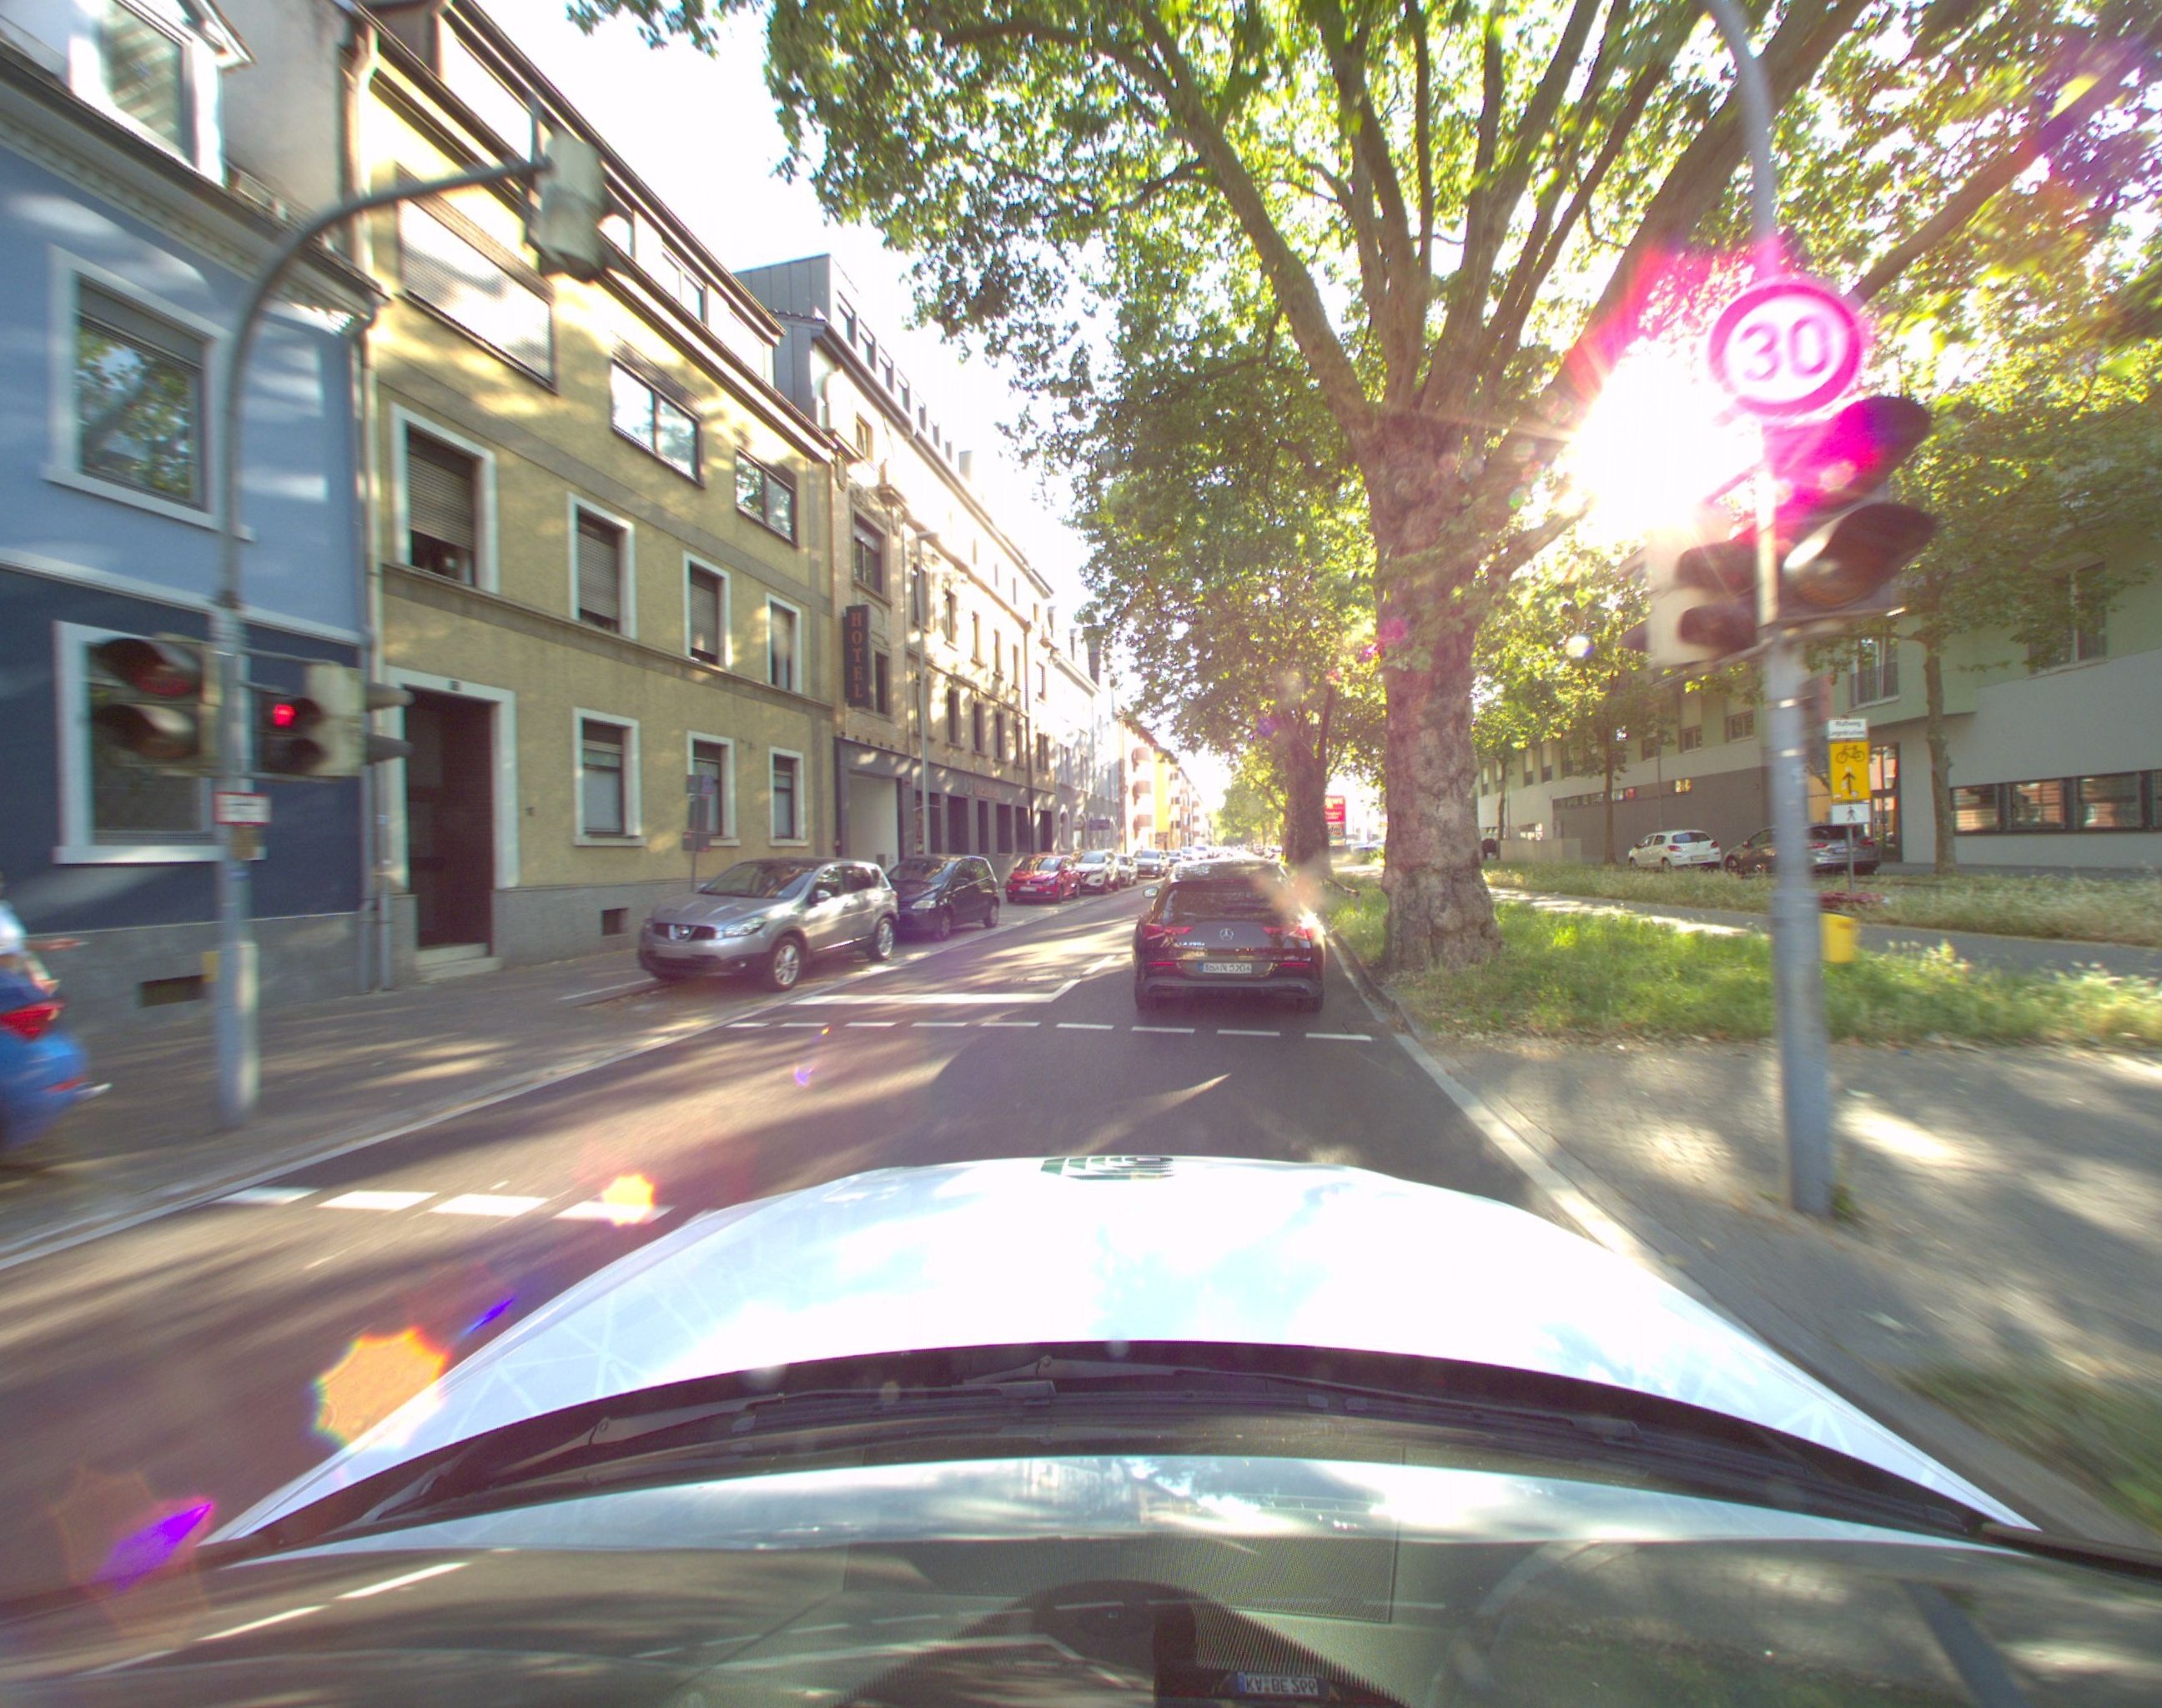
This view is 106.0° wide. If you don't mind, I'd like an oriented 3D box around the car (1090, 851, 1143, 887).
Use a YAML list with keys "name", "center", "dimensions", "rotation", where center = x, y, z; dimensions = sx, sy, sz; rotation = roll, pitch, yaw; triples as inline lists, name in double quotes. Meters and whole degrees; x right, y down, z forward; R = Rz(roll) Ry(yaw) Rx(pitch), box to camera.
- name: "car"
  center: [1.635, 0.642, 36.563]
  dimensions: [1.666, 1.496, 3.886]
  rotation: [0, 1, 13]

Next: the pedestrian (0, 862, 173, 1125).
- name: "pedestrian"
  center: [-6.678, 0.852, 5.221]
  dimensions: [0.865, 1.570, 0.702]
  rotation: [-2, 0, -16]

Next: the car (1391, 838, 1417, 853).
- name: "car"
  center: [38.723, -1.010, 97.647]
  dimensions: [1.974, 1.733, 4.191]
  rotation: [-2, 0, 9]

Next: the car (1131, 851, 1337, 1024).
- name: "car"
  center: [1.422, 0.700, 8.928]
  dimensions: [1.737, 1.443, 3.972]
  rotation: [0, 1, 3]

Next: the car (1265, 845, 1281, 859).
- name: "car"
  center: [24.625, -0.254, 104.315]
  dimensions: [1.798, 1.539, 4.598]
  rotation: [-4, -1, 12]

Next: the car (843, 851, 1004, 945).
- name: "car"
  center: [-2.963, 0.757, 16.168]
  dimensions: [1.665, 1.605, 3.720]
  rotation: [0, 1, 15]

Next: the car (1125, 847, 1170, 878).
- name: "car"
  center: [3.868, 0.453, 46.810]
  dimensions: [1.895, 1.641, 4.594]
  rotation: [0, 1, 13]

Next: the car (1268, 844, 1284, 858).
- name: "car"
  center: [23.343, -0.330, 97.583]
  dimensions: [1.625, 1.468, 4.032]
  rotation: [-3, -1, 10]

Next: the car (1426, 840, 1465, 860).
- name: "car"
  center: [28.716, -0.342, 64.296]
  dimensions: [1.847, 1.468, 4.136]
  rotation: [-2, 0, 10]

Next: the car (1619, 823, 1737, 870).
- name: "car"
  center: [21.667, -0.262, 29.796]
  dimensions: [1.846, 1.542, 4.334]
  rotation: [-2, 0, 12]

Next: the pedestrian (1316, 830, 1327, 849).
- name: "pedestrian"
  center: [22.922, -1.416, 77.505]
  dimensions: [0.765, 1.761, 0.664]
  rotation: [-4, 0, 0]

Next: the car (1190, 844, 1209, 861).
- name: "car"
  center: [13.934, -0.211, 95.228]
  dimensions: [1.722, 1.907, 5.228]
  rotation: [-1, 0, 13]

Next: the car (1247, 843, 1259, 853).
- name: "car"
  center: [35.829, -1.294, 169.702]
  dimensions: [1.982, 2.014, 4.008]
  rotation: [-1, -1, 8]

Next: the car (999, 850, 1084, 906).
- name: "car"
  center: [-1.143, 0.674, 25.491]
  dimensions: [1.666, 1.592, 3.770]
  rotation: [0, 1, 13]

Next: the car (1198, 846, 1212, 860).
- name: "car"
  center: [16.484, -0.104, 108.192]
  dimensions: [1.734, 1.787, 4.562]
  rotation: [0, 1, 10]

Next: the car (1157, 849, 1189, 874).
- name: "car"
  center: [6.324, 0.471, 55.554]
  dimensions: [1.666, 1.641, 3.999]
  rotation: [0, 1, 13]

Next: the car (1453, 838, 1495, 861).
- name: "car"
  center: [27.757, -0.331, 57.621]
  dimensions: [1.846, 1.552, 3.772]
  rotation: [-2, 0, 12]

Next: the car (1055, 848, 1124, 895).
- name: "car"
  center: [0.400, 0.578, 30.175]
  dimensions: [1.666, 1.584, 4.215]
  rotation: [0, 1, 13]

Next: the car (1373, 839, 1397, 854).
- name: "car"
  center: [36.428, -0.929, 97.736]
  dimensions: [1.864, 1.733, 4.191]
  rotation: [-2, 0, 9]

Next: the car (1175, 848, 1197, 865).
- name: "car"
  center: [9.743, 0.205, 75.455]
  dimensions: [1.666, 1.523, 4.035]
  rotation: [0, 1, 13]

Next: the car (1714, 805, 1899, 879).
- name: "car"
  center: [19.779, -0.314, 22.492]
  dimensions: [1.892, 1.771, 4.334]
  rotation: [-2, 0, 12]

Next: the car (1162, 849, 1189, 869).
- name: "car"
  center: [7.259, 0.373, 62.444]
  dimensions: [1.666, 1.486, 3.614]
  rotation: [0, 1, 13]

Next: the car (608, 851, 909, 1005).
- name: "car"
  center: [-4.112, 0.817, 11.240]
  dimensions: [1.769, 1.672, 4.171]
  rotation: [0, 1, 13]

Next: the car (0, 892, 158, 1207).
- name: "car"
  center: [-6.352, 0.985, 2.575]
  dimensions: [1.639, 1.486, 4.276]
  rotation: [0, 1, 11]

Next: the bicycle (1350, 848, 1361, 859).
- name: "bicycle"
  center: [25.245, -0.073, 75.041]
  dimensions: [0.382, 1.003, 1.484]
  rotation: [-2, 0, -4]

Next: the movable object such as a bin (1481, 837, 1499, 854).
- name: "movable object such as a bin"
  center: [34.536, -0.718, 68.777]
  dimensions: [1.182, 1.463, 1.415]
  rotation: [-2, 0, 23]
